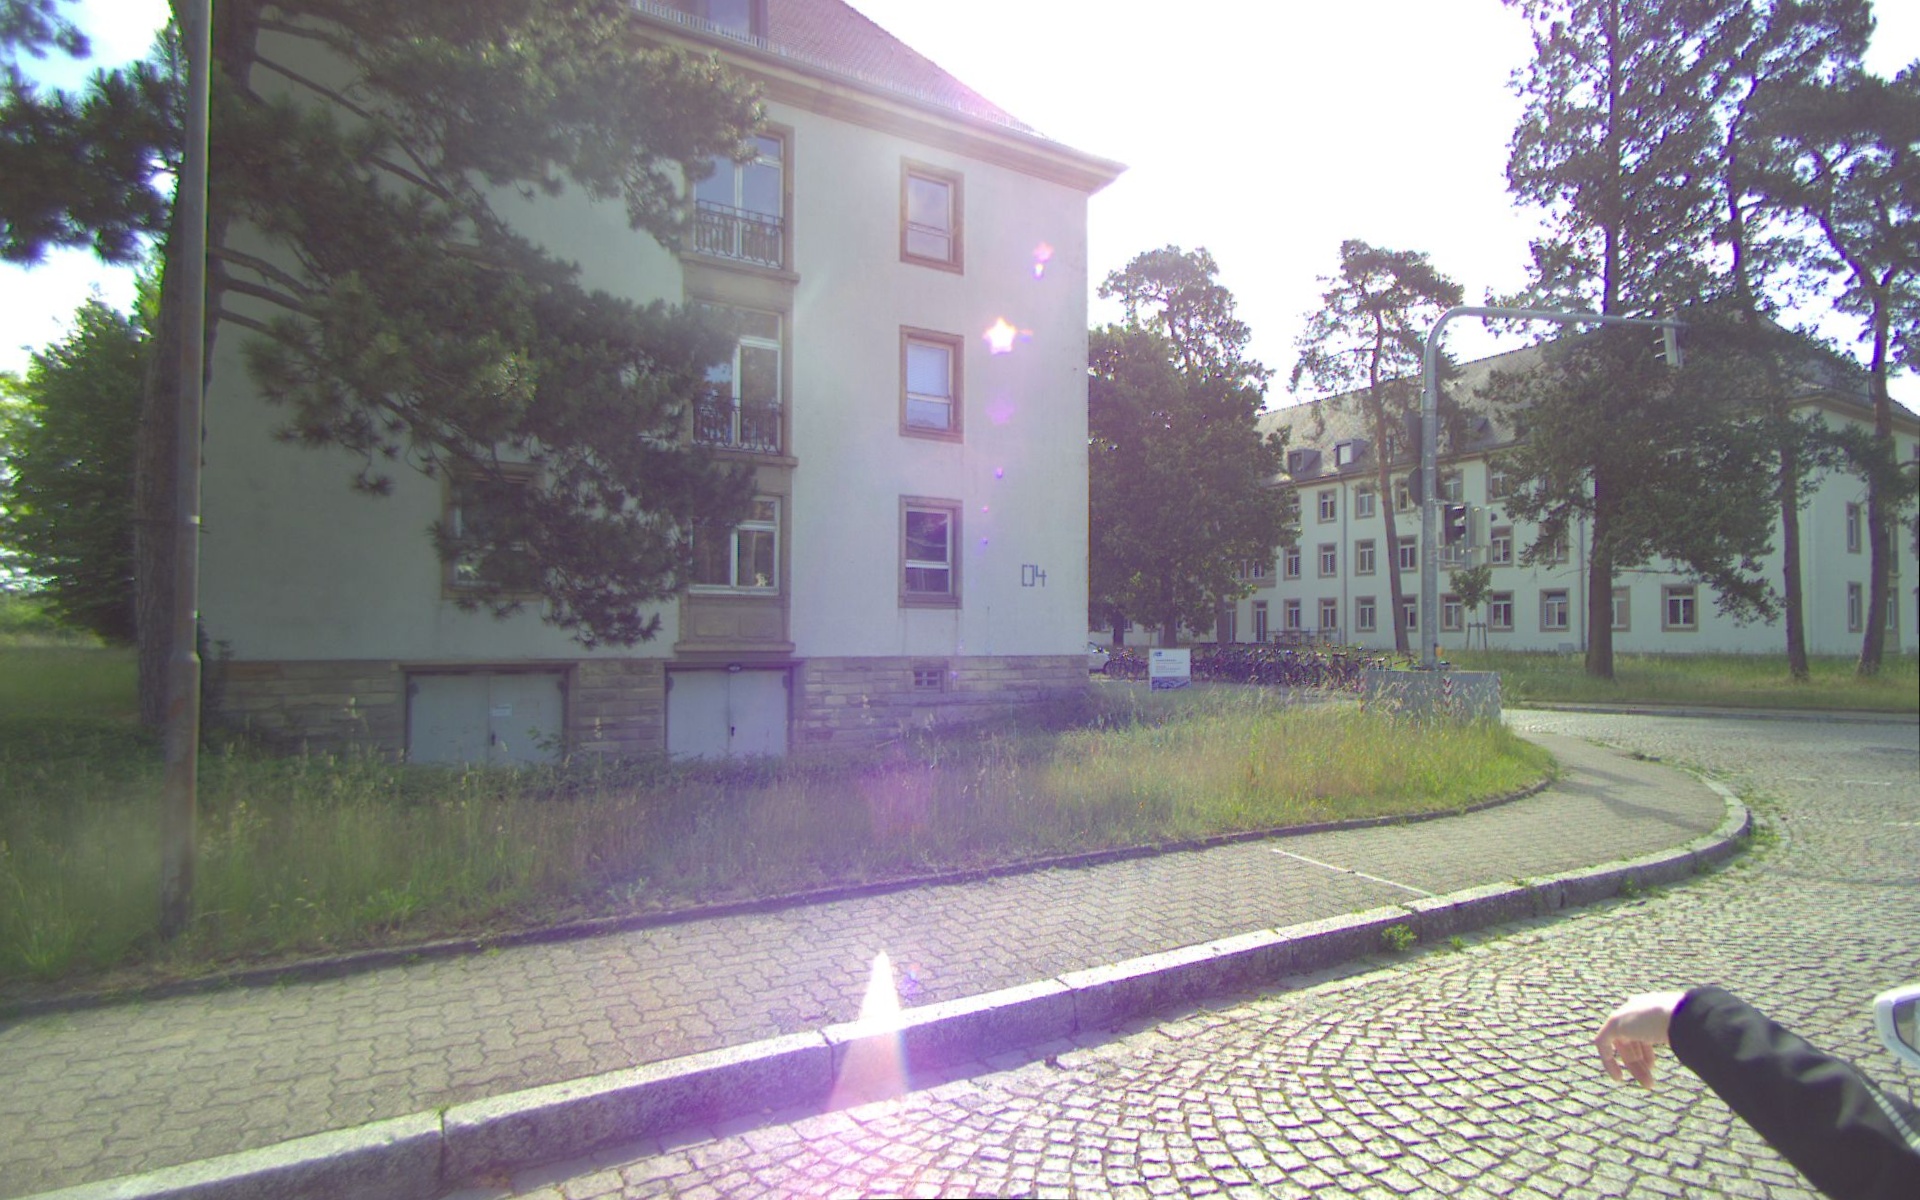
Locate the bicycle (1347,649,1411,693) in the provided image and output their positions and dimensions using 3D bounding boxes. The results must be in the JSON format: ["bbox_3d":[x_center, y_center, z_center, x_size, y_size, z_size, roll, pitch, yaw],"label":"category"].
[{"bbox_3d":[12.155,2.037,29.123,2.080,1.236,0.630,1,-2,-31],"label":"bicycle"}]

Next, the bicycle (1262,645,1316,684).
[{"bbox_3d":[10.743,2.090,32.769,1.954,1.236,0.511,1,-2,-31],"label":"bicycle"}]

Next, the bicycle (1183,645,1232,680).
[{"bbox_3d":[8.889,2.222,35.990,1.915,1.236,0.511,1,-2,-31],"label":"bicycle"}]

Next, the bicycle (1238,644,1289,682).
[{"bbox_3d":[10.184,2.099,33.692,1.915,1.236,0.511,1,-2,-31],"label":"bicycle"}]

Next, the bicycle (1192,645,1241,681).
[{"bbox_3d":[9.104,2.217,35.619,1.915,1.236,0.511,1,-2,-31],"label":"bicycle"}]

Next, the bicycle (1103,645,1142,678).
[{"bbox_3d":[6.390,2.401,39.434,1.815,1.236,0.509,2,-3,-42],"label":"bicycle"}]

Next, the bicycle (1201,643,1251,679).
[{"bbox_3d":[9.334,2.119,35.219,1.915,1.236,0.511,1,-2,-31],"label":"bicycle"}]

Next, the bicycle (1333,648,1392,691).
[{"bbox_3d":[12.053,2.055,30.061,1.967,1.236,0.569,1,-2,-31],"label":"bicycle"}]

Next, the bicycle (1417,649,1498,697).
[{"bbox_3d":[13.343,1.941,26.985,0.627,1.236,1.935,1,-2,-30],"label":"bicycle"}]

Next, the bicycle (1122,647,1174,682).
[{"bbox_3d":[6.798,2.318,36.337,1.794,1.236,0.515,-1,-2,24],"label":"bicycle"}]

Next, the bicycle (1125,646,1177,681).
[{"bbox_3d":[7.028,2.327,36.944,1.794,1.236,0.515,-1,-2,24],"label":"bicycle"}]

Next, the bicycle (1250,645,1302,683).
[{"bbox_3d":[10.452,2.092,33.206,1.932,1.236,0.511,1,-2,-31],"label":"bicycle"}]

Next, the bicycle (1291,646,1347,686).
[{"bbox_3d":[11.370,2.082,31.789,1.993,1.236,0.511,1,-2,-31],"label":"bicycle"}]

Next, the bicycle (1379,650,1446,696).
[{"bbox_3d":[12.700,2.023,28.184,2.090,1.236,0.630,1,-2,-31],"label":"bicycle"}]

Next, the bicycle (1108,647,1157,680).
[{"bbox_3d":[6.518,2.381,37.934,1.792,1.236,0.516,0,-2,6],"label":"bicycle"}]

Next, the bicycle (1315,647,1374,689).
[{"bbox_3d":[11.788,2.068,30.775,2.006,1.236,0.576,1,-2,-31],"label":"bicycle"}]

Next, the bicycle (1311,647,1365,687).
[{"bbox_3d":[11.858,2.082,31.487,1.878,1.236,0.545,1,-2,-31],"label":"bicycle"}]

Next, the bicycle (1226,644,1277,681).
[{"bbox_3d":[9.929,2.105,34.175,1.915,1.236,0.511,1,-2,-31],"label":"bicycle"}]

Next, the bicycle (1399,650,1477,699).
[{"bbox_3d":[12.689,1.947,26.706,0.627,1.236,1.853,1,-2,-30],"label":"bicycle"}]

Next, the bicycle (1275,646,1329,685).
[{"bbox_3d":[11.007,2.088,32.325,1.954,1.236,0.511,1,-2,-31],"label":"bicycle"}]

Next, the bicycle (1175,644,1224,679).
[{"bbox_3d":[8.671,2.227,36.381,1.915,1.236,0.511,1,-2,-31],"label":"bicycle"}]

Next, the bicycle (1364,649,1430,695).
[{"bbox_3d":[12.451,2.030,28.597,2.100,1.236,0.630,1,-2,-31],"label":"bicycle"}]

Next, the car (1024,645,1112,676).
[{"bbox_3d":[4.585,2.545,42.537,3.550,1.227,1.504,1,-3,-29],"label":"car"}]

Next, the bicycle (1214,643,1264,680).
[{"bbox_3d":[9.649,2.112,34.697,1.915,1.236,0.511,1,-2,-31],"label":"bicycle"}]

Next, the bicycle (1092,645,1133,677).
[{"bbox_3d":[6.073,2.408,39.950,1.813,1.236,0.510,2,-3,-39],"label":"bicycle"}]
